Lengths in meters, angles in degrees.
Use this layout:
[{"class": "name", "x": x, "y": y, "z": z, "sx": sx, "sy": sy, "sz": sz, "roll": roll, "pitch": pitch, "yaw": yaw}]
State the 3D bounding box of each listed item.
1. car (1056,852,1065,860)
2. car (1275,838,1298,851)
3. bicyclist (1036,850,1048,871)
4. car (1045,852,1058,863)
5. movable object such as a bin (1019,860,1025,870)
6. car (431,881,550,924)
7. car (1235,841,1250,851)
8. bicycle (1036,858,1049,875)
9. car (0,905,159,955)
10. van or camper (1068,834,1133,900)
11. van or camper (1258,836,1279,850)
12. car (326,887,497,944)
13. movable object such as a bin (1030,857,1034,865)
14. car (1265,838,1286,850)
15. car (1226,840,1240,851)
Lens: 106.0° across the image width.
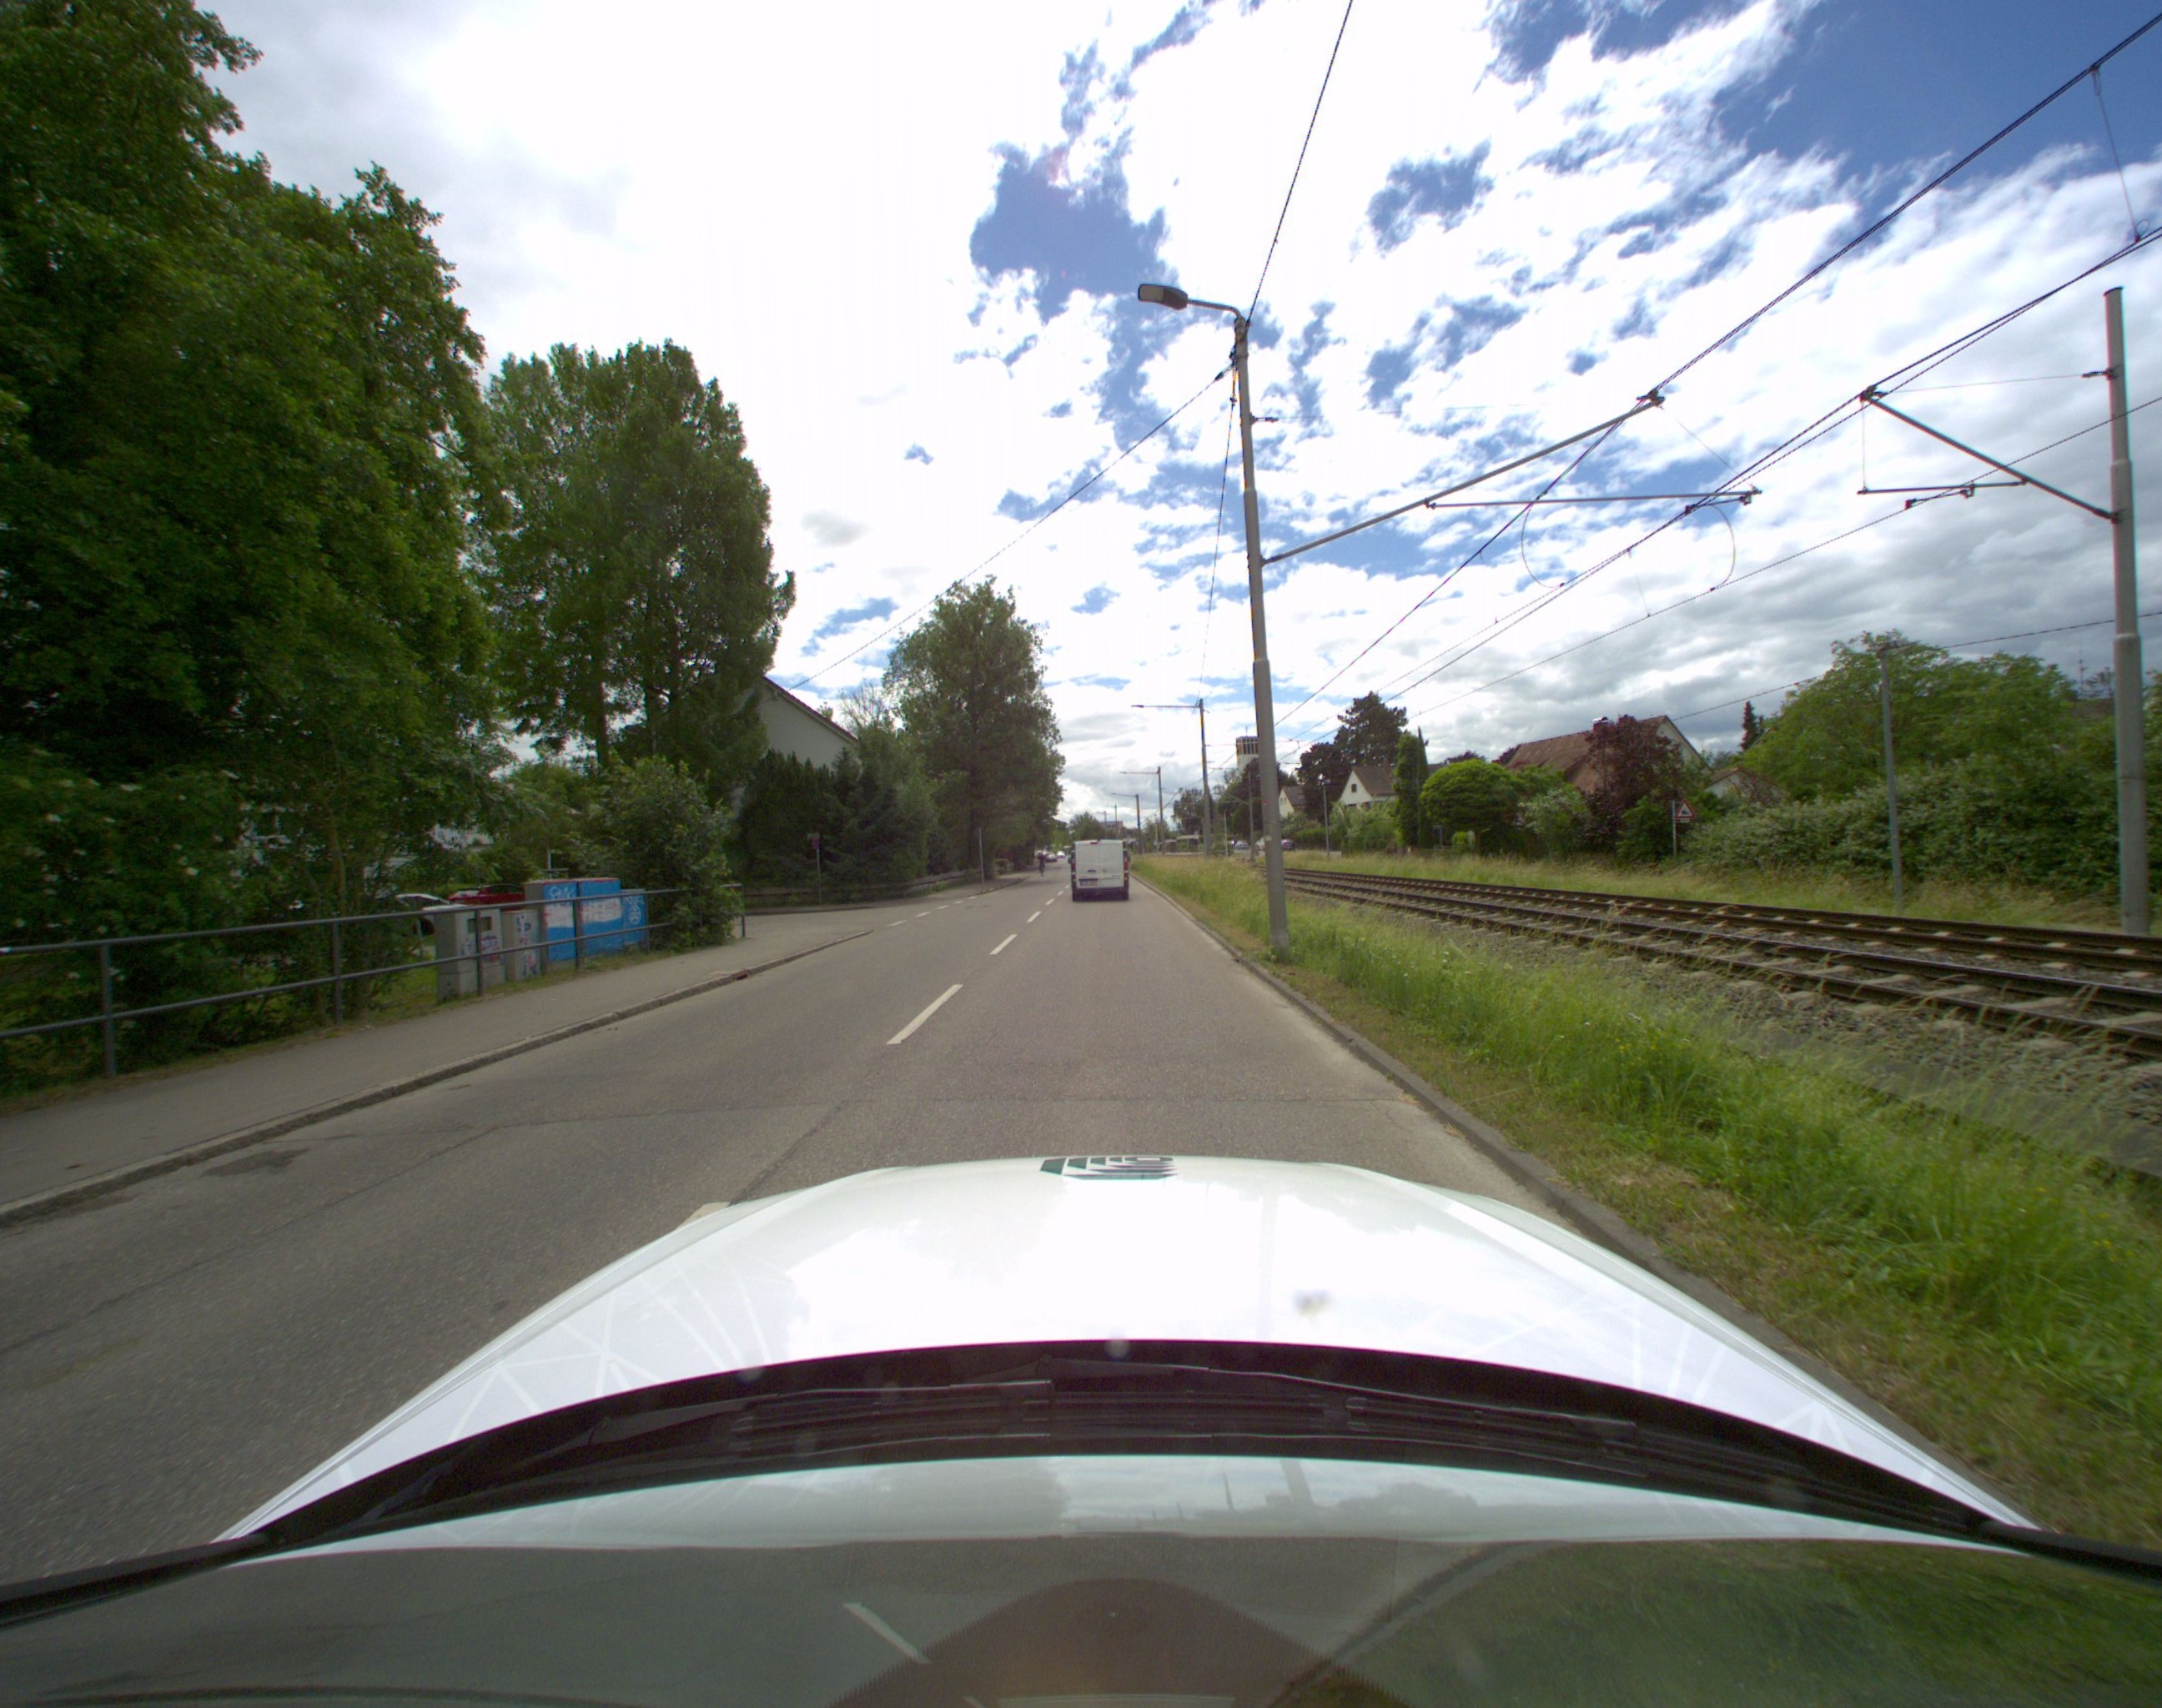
[{"class": "car", "x": -4.192, "y": 0.474, "z": 167.463, "sx": 1.689, "sy": 1.430, "sz": 3.783, "roll": -5, "pitch": 0, "yaw": -2}, {"class": "car", "x": 25.838, "y": -1.202, "z": 102.471, "sx": 1.876, "sy": 1.522, "sz": 4.003, "roll": -3, "pitch": 0, "yaw": 2}, {"class": "bicyclist", "x": -3.007, "y": 0.492, "z": 62.841, "sx": 0.775, "sy": 1.549, "sz": 0.870, "roll": -3, "pitch": 0, "yaw": 1}, {"class": "car", "x": -4.579, "y": 0.474, "z": 125.216, "sx": 1.734, "sy": 1.504, "sz": 4.470, "roll": -4, "pitch": 0, "yaw": -5}, {"class": "movable object such as a bin", "x": -5.647, "y": 1.043, "z": 78.472, "sx": 0.512, "sy": 0.945, "sz": 0.568, "roll": -2, "pitch": 0, "yaw": 1}, {"class": "car", "x": -25.804, "y": 2.085, "z": 35.776, "sx": 1.825, "sy": 1.388, "sz": 4.011, "roll": -4, "pitch": 1, "yaw": 9}, {"class": "car", "x": 26.803, "y": -1.260, "z": 135.075, "sx": 1.876, "sy": 1.522, "sz": 4.003, "roll": -3, "pitch": 0, "yaw": 2}, {"class": "bicycle", "x": -2.986, "y": 0.965, "z": 62.863, "sx": 0.752, "sy": 1.226, "sz": 2.309, "roll": -4, "pitch": 0, "yaw": 1}, {"class": "car", "x": -35.118, "y": 2.626, "z": 28.436, "sx": 3.964, "sy": 1.479, "sz": 1.961, "roll": -2, "pitch": 0, "yaw": 8}, {"class": "van or camper", "x": 0.686, "y": 0.411, "z": 27.668, "sx": 1.986, "sy": 2.013, "sz": 4.448, "roll": -1, "pitch": 0, "yaw": 2}, {"class": "van or camper", "x": 25.999, "y": -1.492, "z": 113.241, "sx": 1.898, "sy": 1.825, "sz": 5.051, "roll": -3, "pitch": 0, "yaw": 2}, {"class": "car", "x": -21.585, "y": 1.952, "z": 26.367, "sx": 3.972, "sy": 1.517, "sz": 1.842, "roll": -3, "pitch": 0, "yaw": 2}, {"class": "movable object such as a bin", "x": -6.399, "y": 0.921, "z": 105.811, "sx": 0.463, "sy": 0.930, "sz": 0.428, "roll": 1, "pitch": -1, "yaw": -16}, {"class": "car", "x": 25.879, "y": -1.313, "z": 108.479, "sx": 1.876, "sy": 1.522, "sz": 4.003, "roll": -3, "pitch": 0, "yaw": 2}, {"class": "car", "x": 26.813, "y": -1.466, "z": 143.532, "sx": 1.726, "sy": 1.914, "sz": 3.936, "roll": -1, "pitch": -1, "yaw": 2}]
